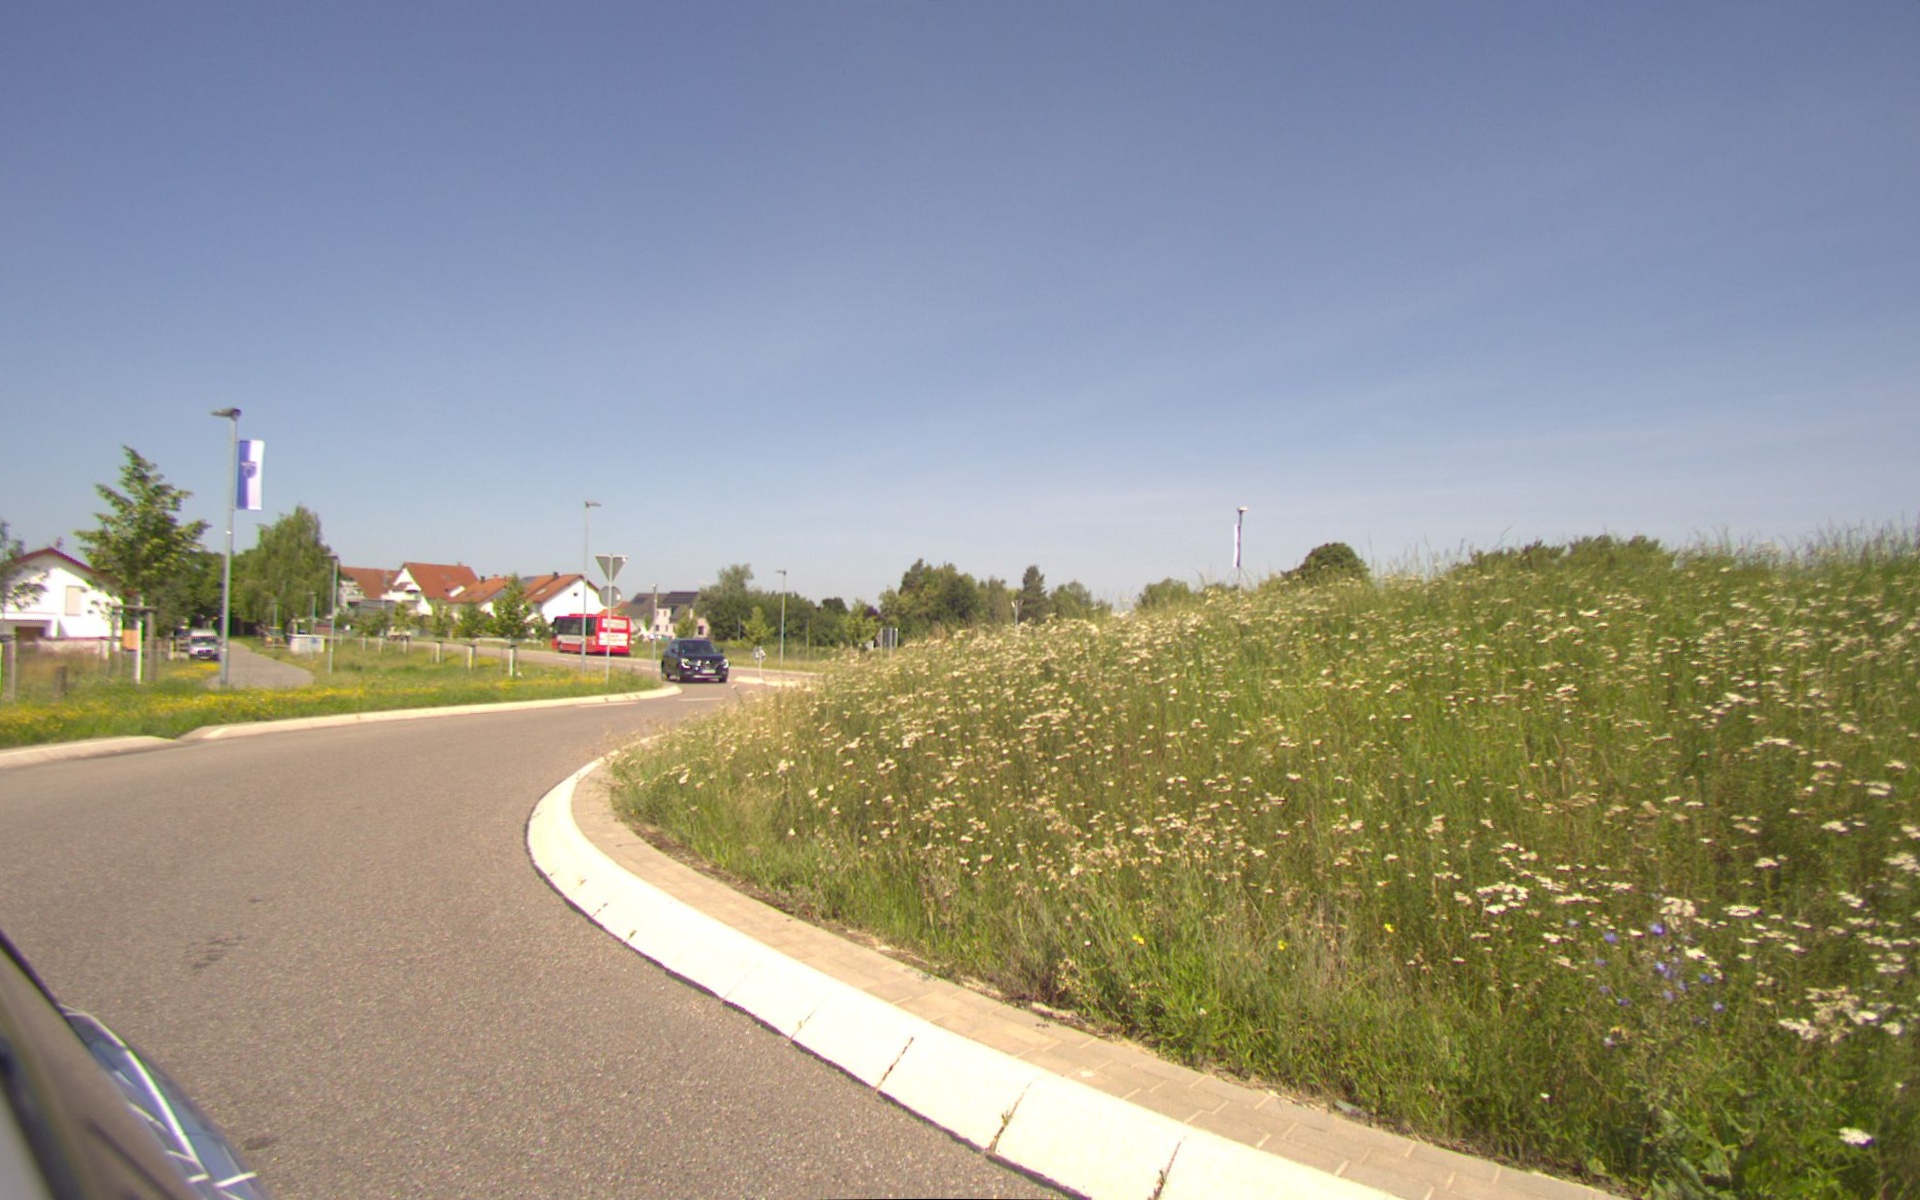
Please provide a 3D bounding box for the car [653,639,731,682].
[{"bbox_3d":[-10.319,2.305,38.760,1.901,1.573,4.012,3,-4,-29],"label":"car"}]

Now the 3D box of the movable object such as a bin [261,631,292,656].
[{"bbox_3d":[-70.436,4.504,104.309,2.286,2.482,6.960,0,-3,-37],"label":"movable object such as a bin"}]

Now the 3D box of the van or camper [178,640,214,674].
[{"bbox_3d":[-61.725,4.559,81.733,2.144,2.620,6.043,2,-2,-38],"label":"van or camper"}]

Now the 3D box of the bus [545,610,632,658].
[{"bbox_3d":[-29.004,2.656,78.600,2.757,3.312,12.256,6,-5,-36],"label":"bus"}]

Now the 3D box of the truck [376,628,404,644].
[{"bbox_3d":[-73.247,4.571,129.926,1.928,2.000,5.651,2,-3,-42],"label":"truck"}]
